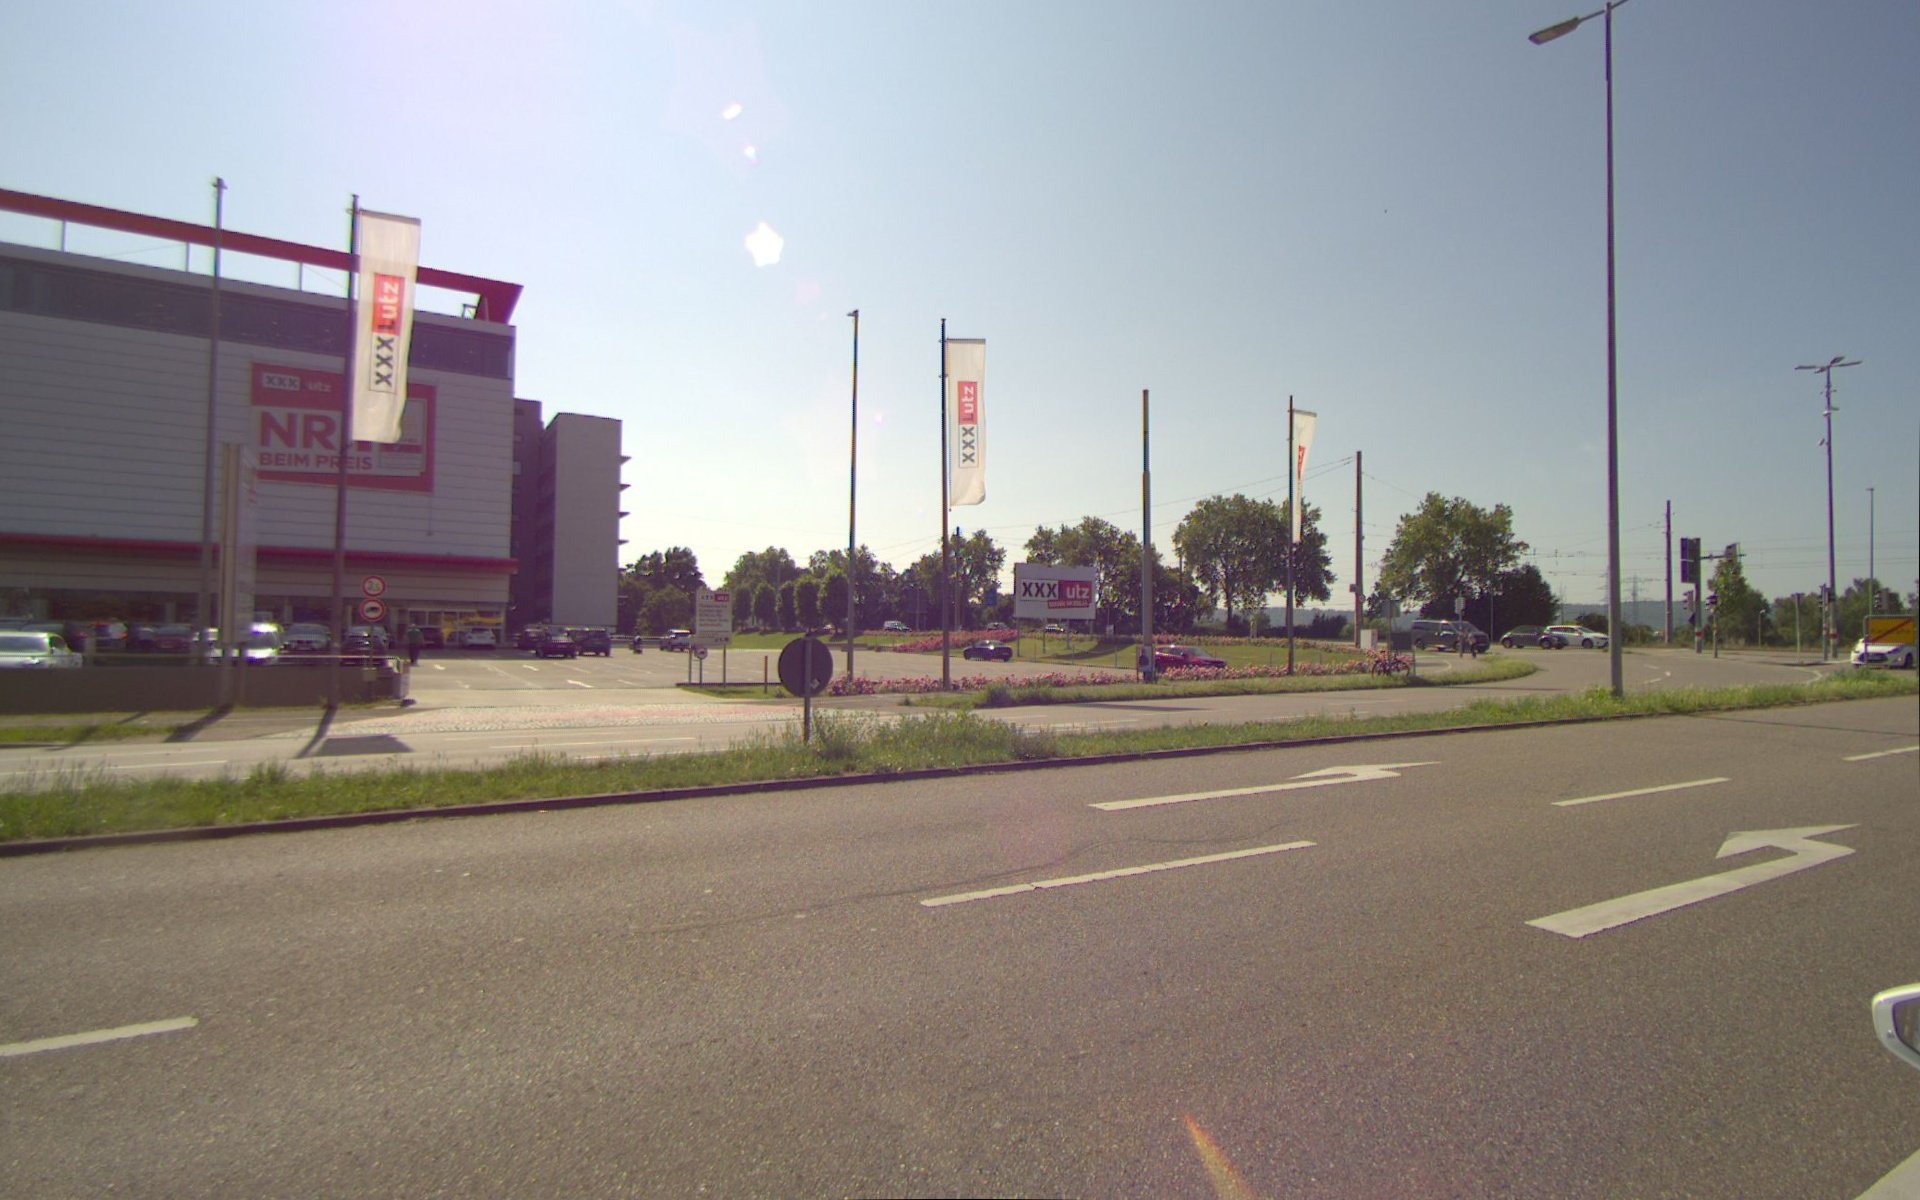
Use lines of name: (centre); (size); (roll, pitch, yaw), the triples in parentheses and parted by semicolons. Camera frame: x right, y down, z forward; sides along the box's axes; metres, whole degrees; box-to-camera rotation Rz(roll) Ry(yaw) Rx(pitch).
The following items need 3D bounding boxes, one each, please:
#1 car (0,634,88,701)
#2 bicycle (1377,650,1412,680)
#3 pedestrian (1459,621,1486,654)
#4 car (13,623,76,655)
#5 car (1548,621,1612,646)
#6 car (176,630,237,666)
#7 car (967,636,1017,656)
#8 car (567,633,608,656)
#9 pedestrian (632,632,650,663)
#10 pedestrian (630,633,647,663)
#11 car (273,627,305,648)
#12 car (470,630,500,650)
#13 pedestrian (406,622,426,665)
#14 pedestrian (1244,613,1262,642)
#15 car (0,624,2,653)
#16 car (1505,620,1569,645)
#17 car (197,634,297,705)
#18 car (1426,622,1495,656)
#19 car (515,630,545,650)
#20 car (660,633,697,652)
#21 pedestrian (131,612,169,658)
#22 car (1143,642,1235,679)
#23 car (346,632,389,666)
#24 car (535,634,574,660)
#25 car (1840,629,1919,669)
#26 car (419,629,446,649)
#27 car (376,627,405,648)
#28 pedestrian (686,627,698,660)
car: (-24.637, 1.717, 26.453); (1.851, 1.648, 4.388); (2, -3, -32)
bicycle: (15.235, 2.288, 35.225); (1.627, 1.036, 0.328); (4, -5, -35)
pedestrian: (26.595, 1.949, 52.111); (0.891, 1.729, 0.839); (0, -2, -19)
car: (-41.277, 1.762, 45.357); (1.499, 1.347, 3.071); (3, -3, -31)
car: (40.569, 2.192, 65.771); (1.395, 1.519, 3.322); (3, -3, -34)
car: (-30.216, 1.903, 40.383); (1.499, 1.347, 4.465); (3, -3, -31)
car: (2.269, 3.282, 71.991); (1.710, 1.347, 3.827); (3, -3, -31)
car: (-22.753, 2.717, 61.344); (1.759, 1.347, 3.071); (3, -3, -31)
pedestrian: (-21.592, 3.216, 67.946); (0.964, 2.040, 0.942); (1, -3, -30)
pedestrian: (-22.079, 3.296, 69.030); (0.964, 2.040, 0.942); (1, -3, -30)
car: (-41.656, 2.346, 62.408); (1.499, 1.241, 3.071); (3, -3, -31)
car: (-32.296, 2.710, 68.267); (1.426, 1.241, 3.071); (3, -3, -32)
pedestrian: (-24.293, 1.933, 44.877); (0.743, 1.882, 0.849); (1, -3, -31)
pedestrian: (20.169, 1.891, 69.107); (0.906, 1.997, 0.713); (2, -2, -26)
car: (-43.617, 1.680, 44.161); (1.499, 1.347, 3.071); (3, -3, -31)
car: (37.344, 2.101, 65.046); (1.394, 1.519, 3.367); (3, -3, -32)
car: (-20.356, 1.934, 28.854); (1.923, 1.866, 4.391); (2, -3, -31)
car: (30.357, 2.354, 61.094); (1.783, 1.951, 3.994); (0, 0, -9)
car: (-30.536, 2.838, 71.312); (1.499, 1.347, 3.071); (3, -3, -31)
car: (-21.310, 3.203, 75.868); (1.732, 1.347, 3.643); (3, -3, -31)
pedestrian: (-36.315, 1.588, 45.037); (1.005, 2.040, 0.861); (0, -2, -17)
car: (10.816, 2.825, 47.638); (1.809, 1.626, 4.156); (3, -3, -35)
car: (-25.344, 2.083, 42.955); (1.499, 1.347, 3.071); (3, -3, -31)
car: (-22.772, 2.630, 56.349); (1.499, 1.347, 3.071); (3, -3, -31)
car: (37.867, 1.986, 40.897); (4.035, 1.567, 1.787); (2, -2, -28)
car: (-35.134, 2.603, 66.872); (1.351, 1.283, 3.071); (3, -3, -31)
car: (-37.394, 2.451, 65.930); (1.499, 1.347, 3.071); (3, -3, -31)
pedestrian: (-15.686, 2.539, 58.853); (0.489, 1.919, 0.784); (0, -3, -1)
